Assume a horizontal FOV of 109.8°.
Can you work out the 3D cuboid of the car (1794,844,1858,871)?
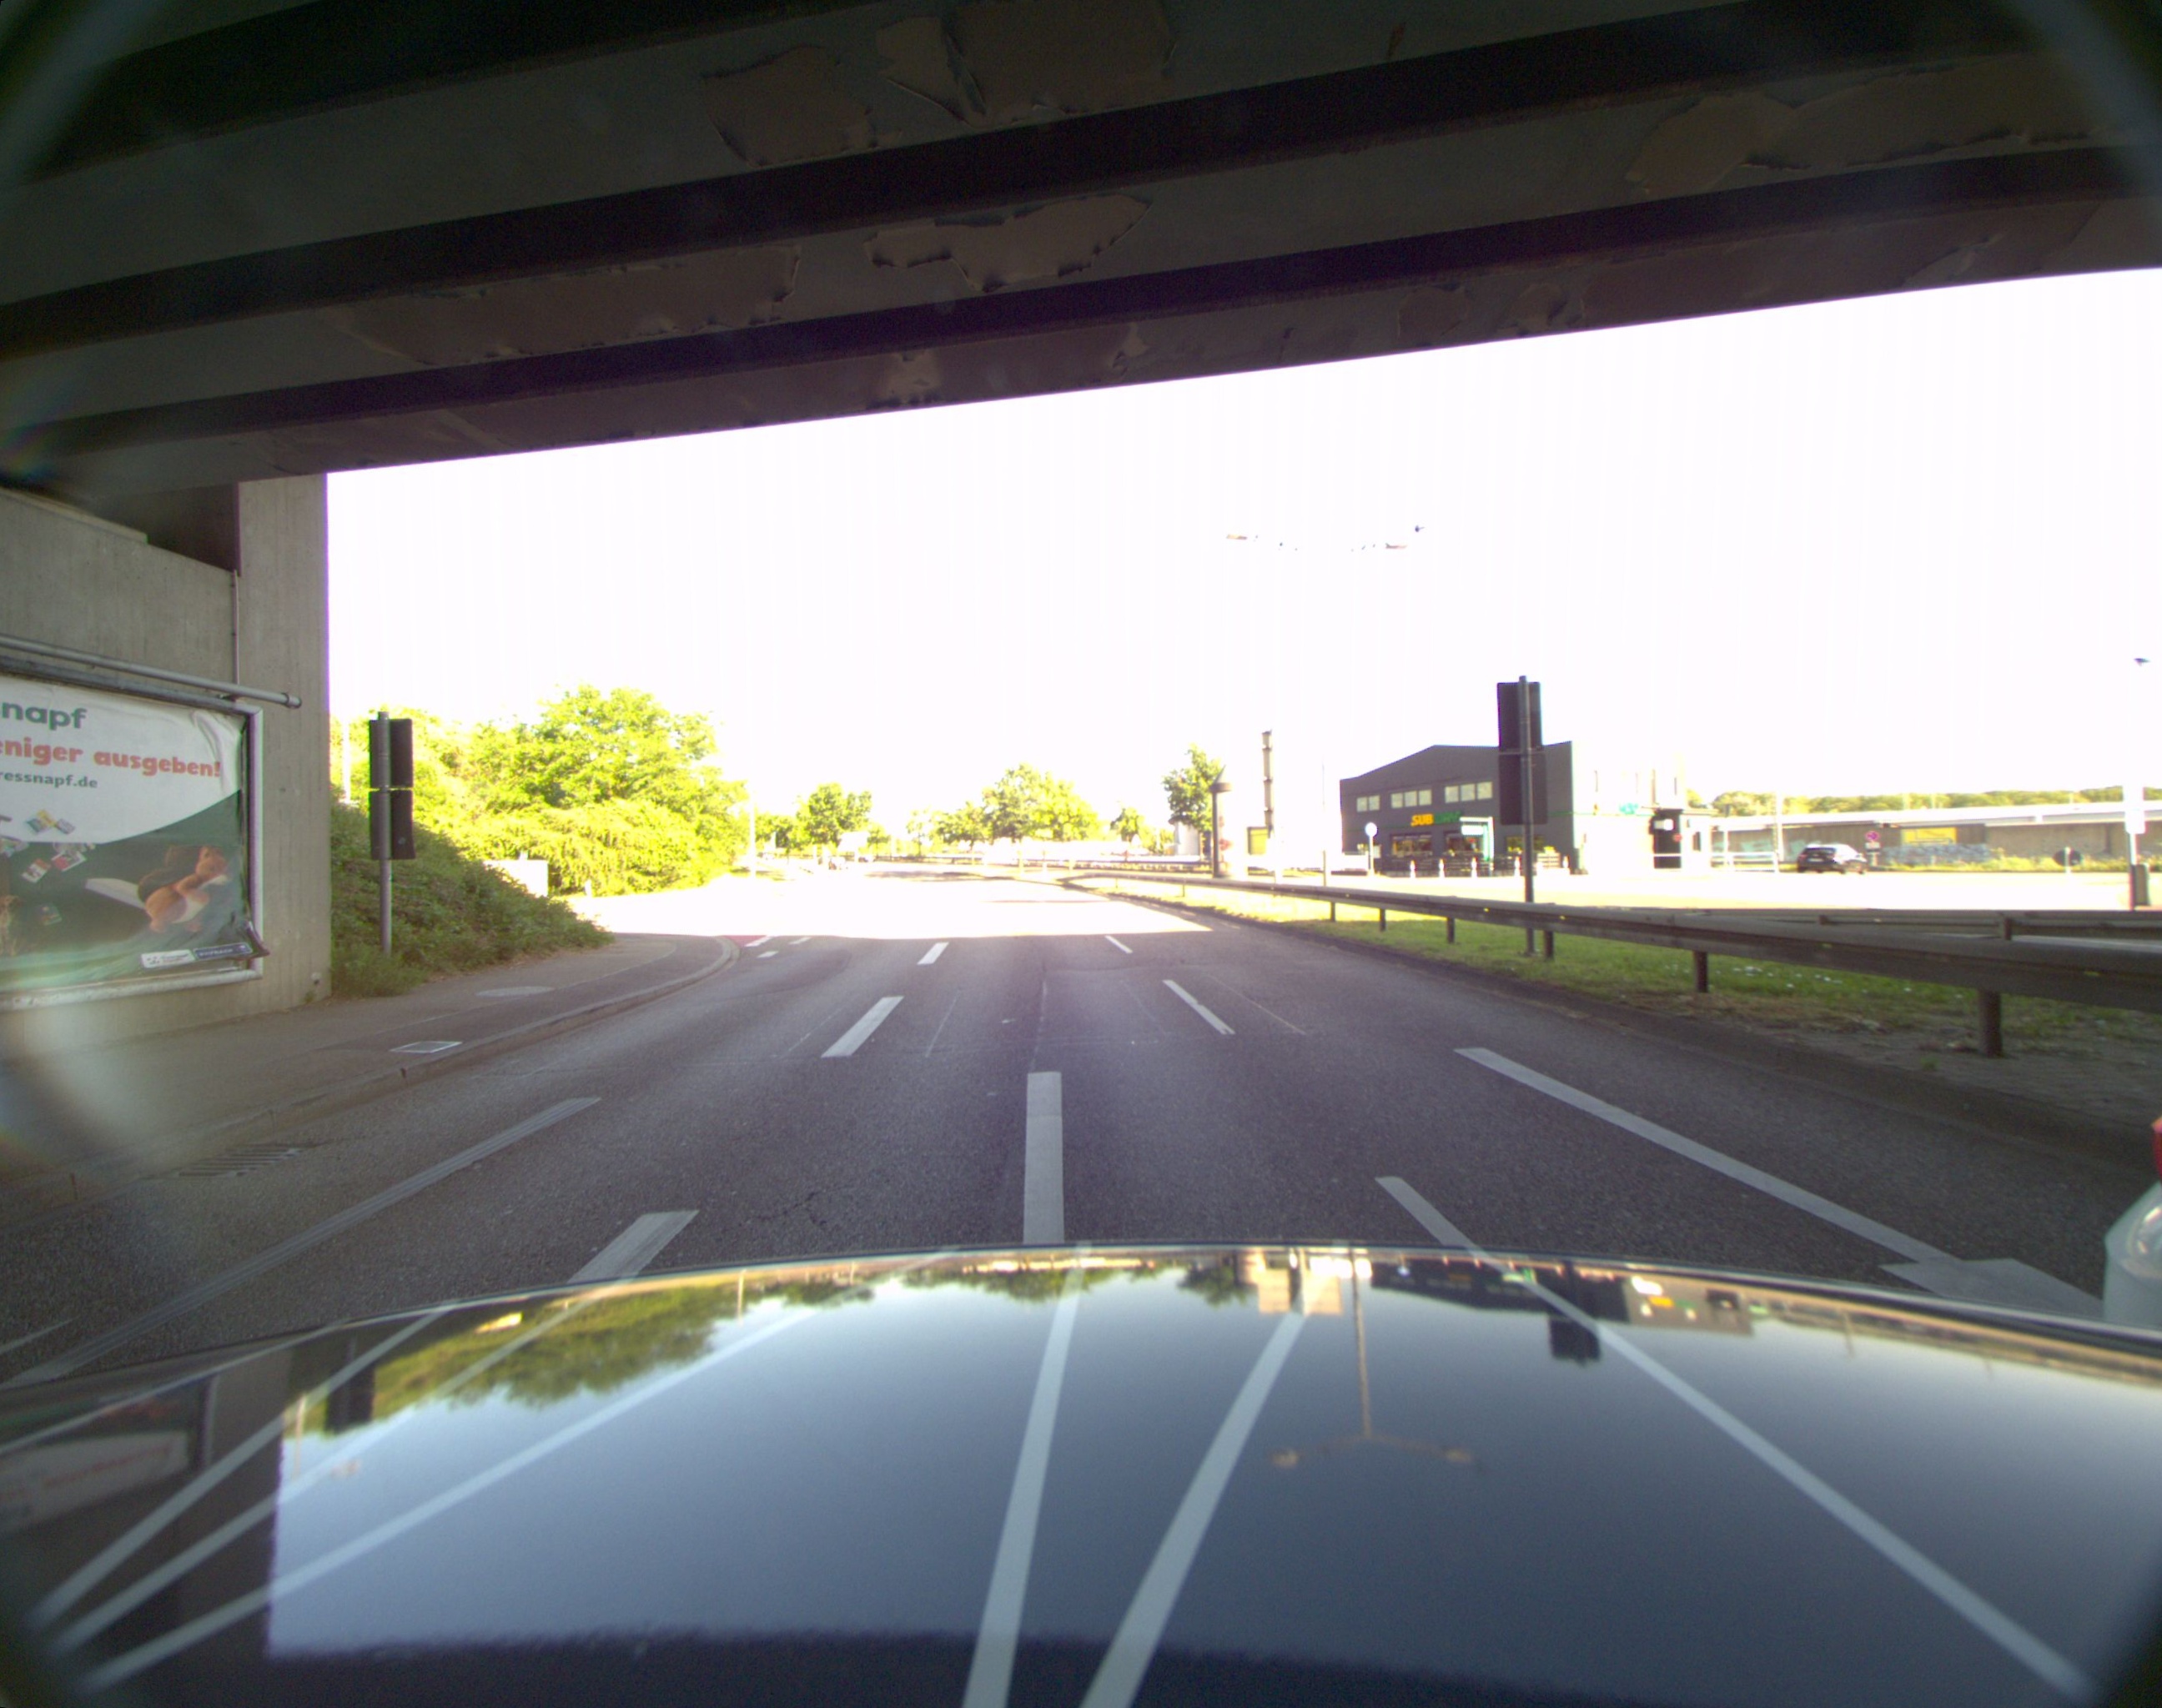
[{"bbox_3d":[38.287,0.191,39.018,4.191,1.274,1.825,1,0,-39],"label":"car"}]

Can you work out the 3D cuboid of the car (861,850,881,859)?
[{"bbox_3d":[-30.633,0.051,110.807,1.751,1.274,4.172,1,0,-32],"label":"car"}]

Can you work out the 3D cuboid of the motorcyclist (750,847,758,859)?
[{"bbox_3d":[-62.346,-0.258,144.866,1.111,2.228,1.179,-3,1,-38],"label":"motorcyclist"}]

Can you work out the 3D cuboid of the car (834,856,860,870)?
[{"bbox_3d":[-27.093,1.055,87.784,1.742,1.411,4.309,-1,-2,-32],"label":"car"}]

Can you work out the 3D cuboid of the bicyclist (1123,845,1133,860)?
[{"bbox_3d":[4.426,-0.162,71.507,0.594,1.419,0.707,-3,1,-28],"label":"bicyclist"}]

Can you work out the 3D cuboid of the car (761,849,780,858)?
[{"bbox_3d":[-53.441,-0.134,130.711,1.861,1.471,4.219,-2,1,-37],"label":"car"}]

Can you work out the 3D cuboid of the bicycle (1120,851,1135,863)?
[{"bbox_3d":[4.372,0.283,71.650,0.594,1.017,1.746,-3,1,-28],"label":"bicycle"}]
